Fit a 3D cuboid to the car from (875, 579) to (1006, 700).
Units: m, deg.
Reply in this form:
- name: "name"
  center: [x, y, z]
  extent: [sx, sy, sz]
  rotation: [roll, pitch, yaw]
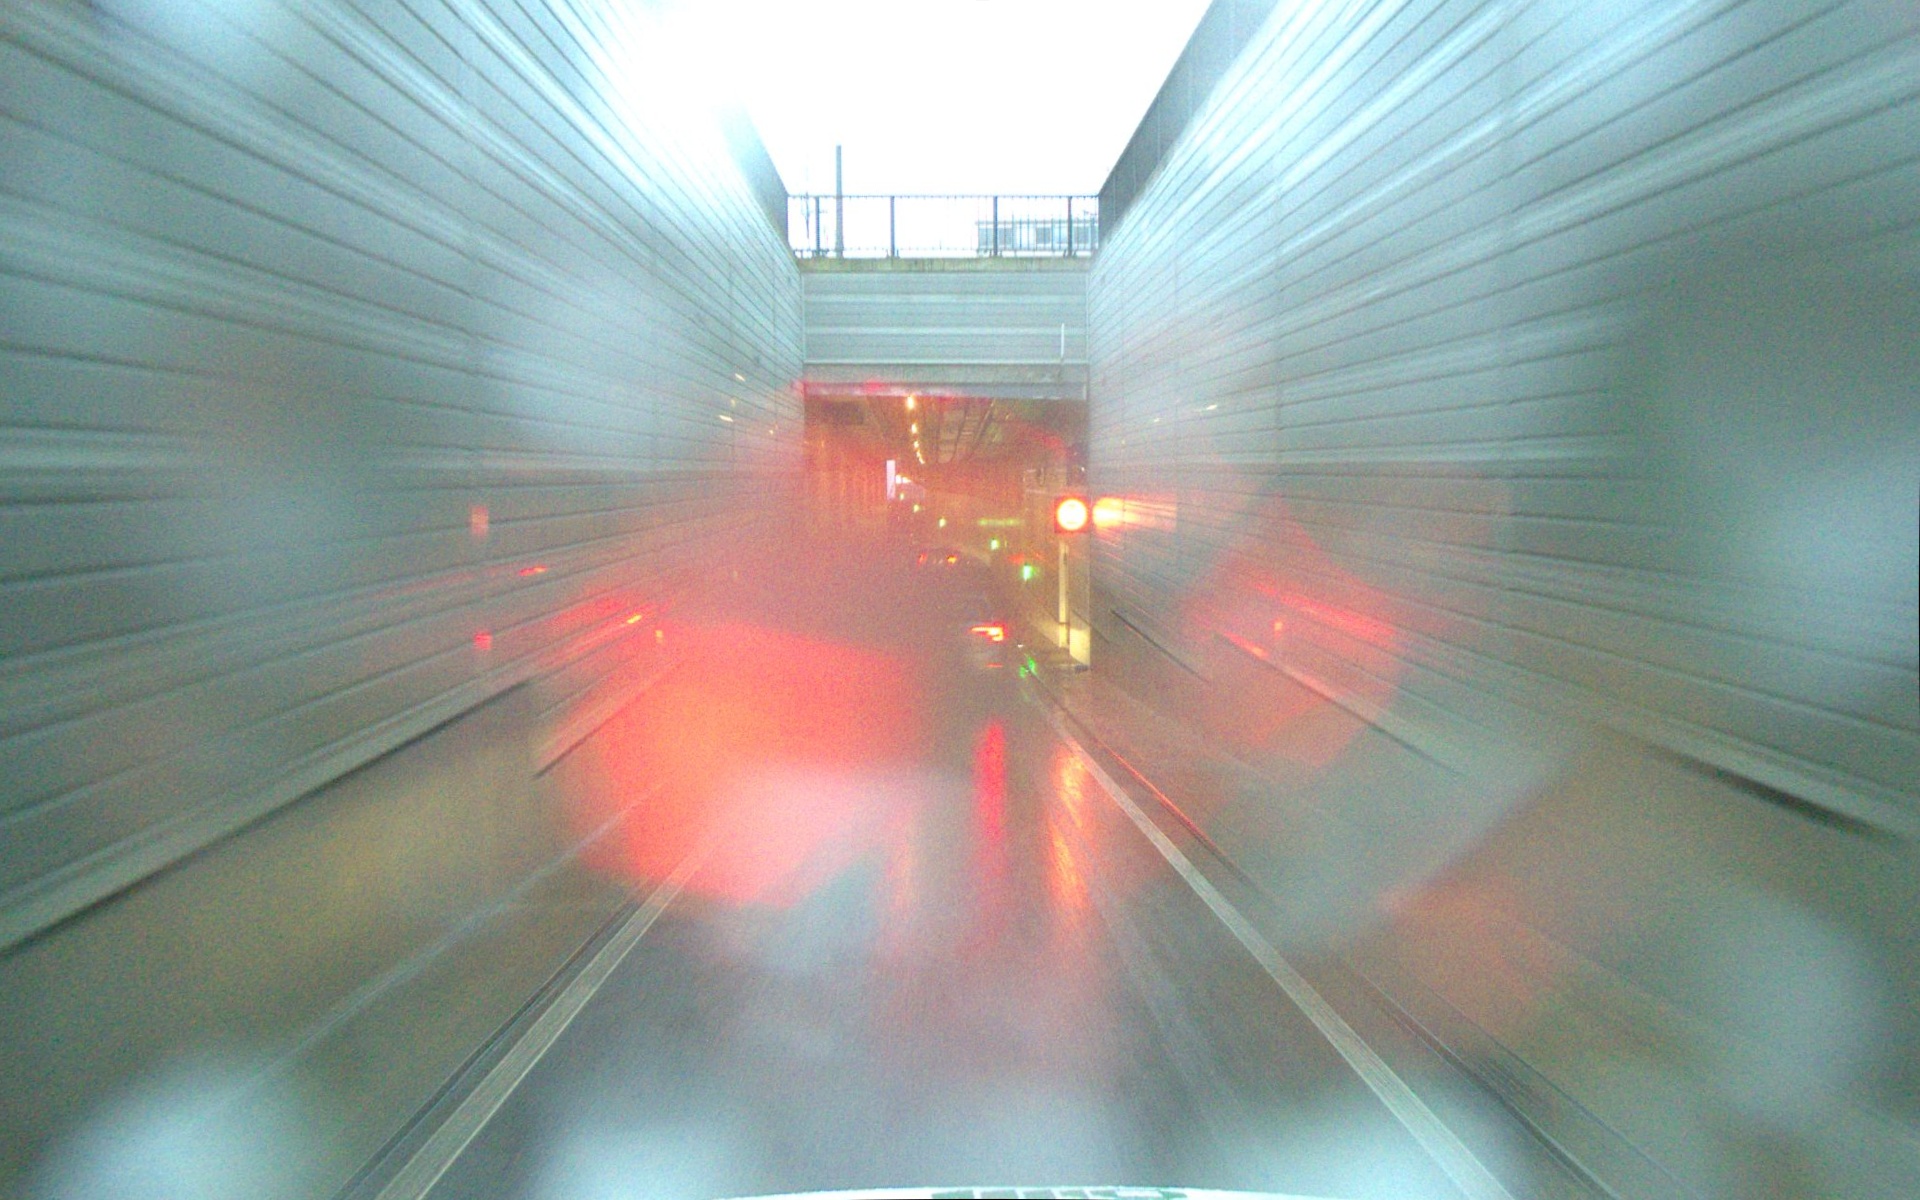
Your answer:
- name: "car"
  center: [-0.241, 0.493, 23.727]
  extent: [1.687, 1.505, 4.001]
  rotation: [2, 1, 0]

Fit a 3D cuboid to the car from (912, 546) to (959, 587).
- name: "car"
  center: [-1.065, -1.465, 70.275]
  extent: [1.881, 1.511, 4.000]
  rotation: [1, 4, -3]
